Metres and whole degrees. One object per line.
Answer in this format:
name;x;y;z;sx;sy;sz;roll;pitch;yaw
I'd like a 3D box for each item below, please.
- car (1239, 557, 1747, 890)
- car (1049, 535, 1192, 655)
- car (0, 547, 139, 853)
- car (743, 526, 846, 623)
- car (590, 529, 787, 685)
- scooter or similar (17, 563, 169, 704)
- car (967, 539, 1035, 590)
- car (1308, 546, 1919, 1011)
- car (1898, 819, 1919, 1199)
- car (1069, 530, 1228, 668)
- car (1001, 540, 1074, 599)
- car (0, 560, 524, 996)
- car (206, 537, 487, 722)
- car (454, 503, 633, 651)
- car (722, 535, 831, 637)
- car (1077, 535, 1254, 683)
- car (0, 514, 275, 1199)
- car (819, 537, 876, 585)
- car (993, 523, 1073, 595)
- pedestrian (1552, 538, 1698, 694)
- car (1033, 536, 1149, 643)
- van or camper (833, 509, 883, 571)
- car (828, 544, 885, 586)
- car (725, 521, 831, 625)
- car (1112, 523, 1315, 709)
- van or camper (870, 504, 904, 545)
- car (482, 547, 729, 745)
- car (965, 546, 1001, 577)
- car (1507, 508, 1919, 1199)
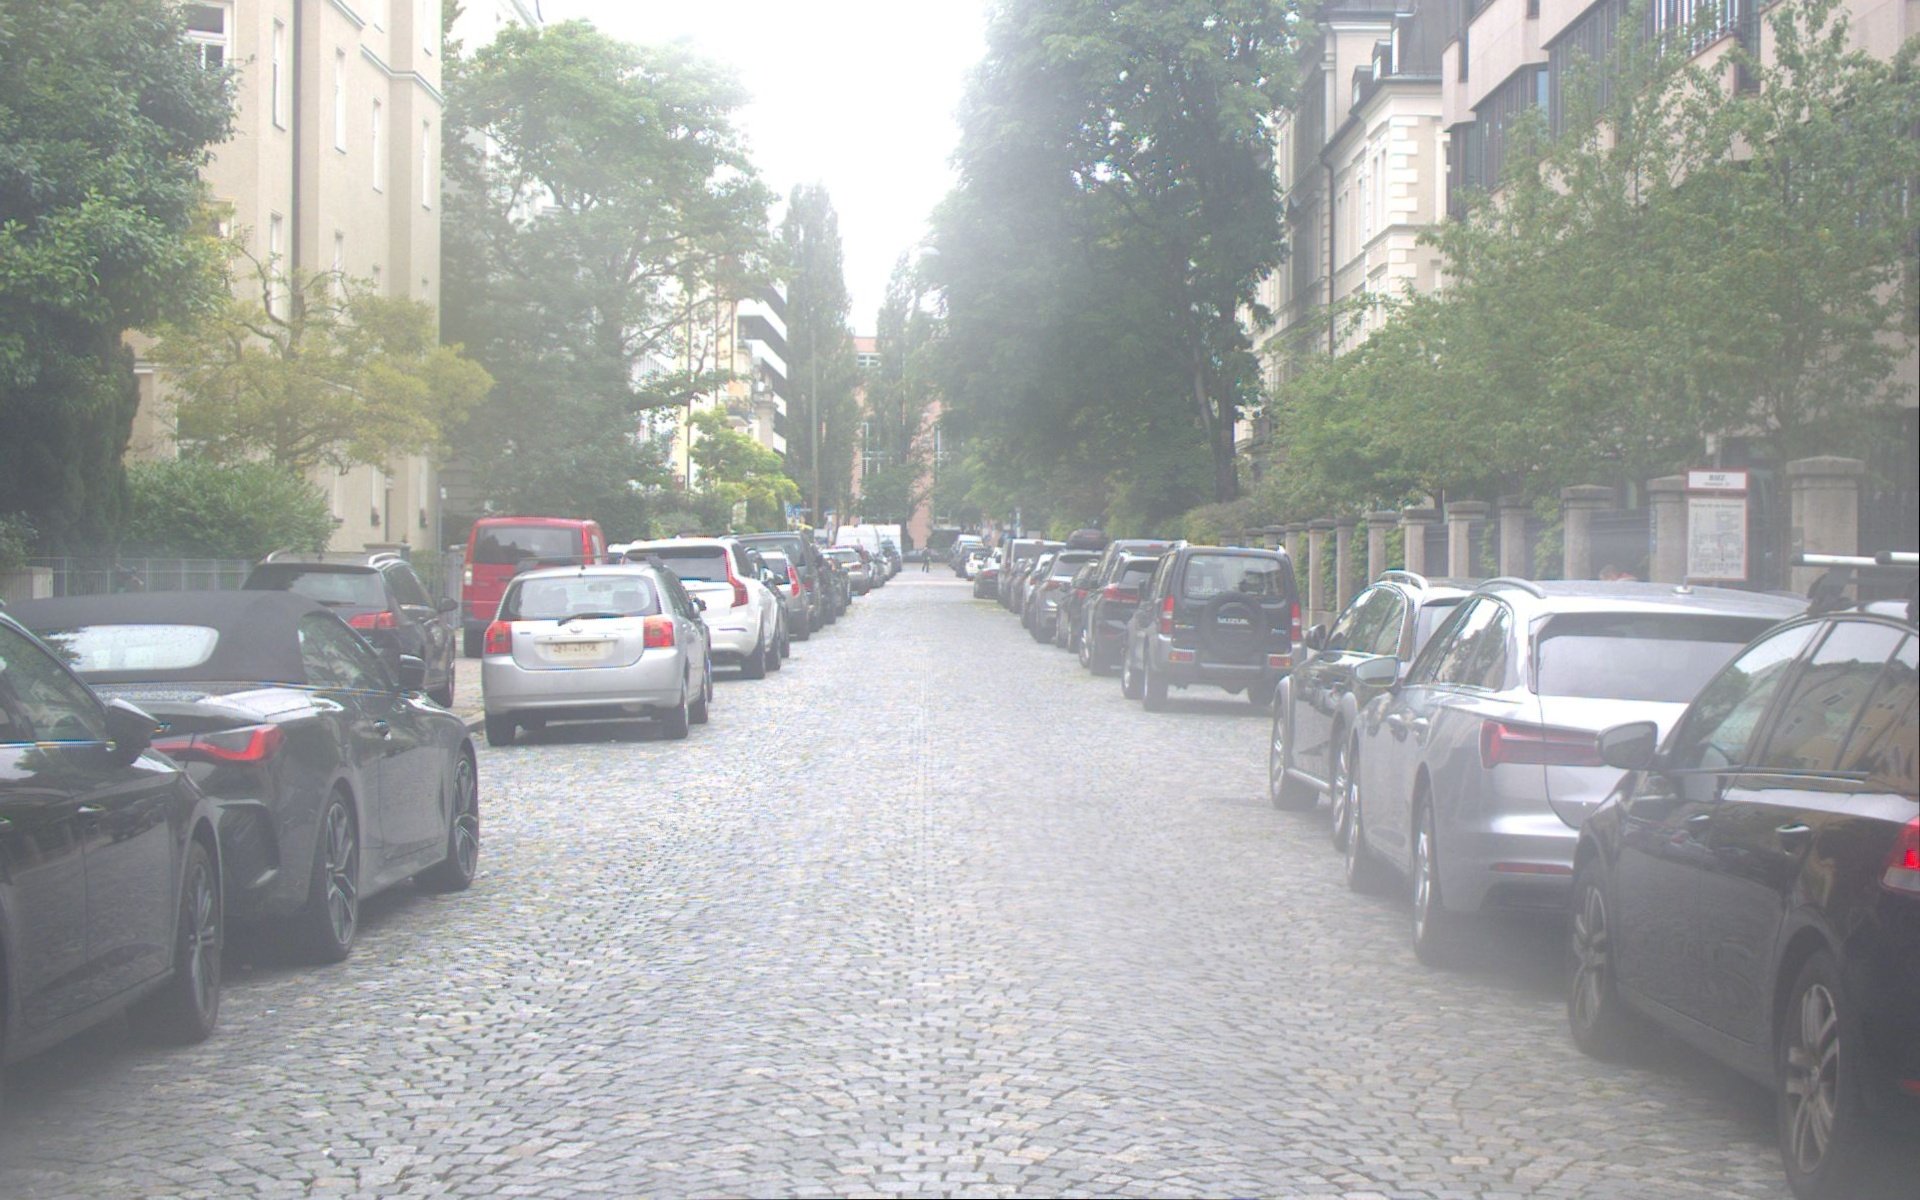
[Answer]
car;2.849;0.582;19.573;1.993;1.546;5.015;3;1;-1
car;2.550;-0.111;55.670;1.873;1.729;4.659;4;1;-1
car;-5.364;0.448;16.329;1.776;1.412;4.561;2;1;0
car;-3.541;-0.574;74.399;1.993;1.910;5.178;-3;1;-1
car;-3.350;0.045;43.381;2.006;1.803;5.174;-1;1;0
scooter or similar;-7.876;0.286;31.295;0.956;1.196;1.522;3;1;0
car;1.291;-1.160;111.209;1.873;1.498;4.512;3;1;-3
car;2.716;0.583;14.347;1.993;1.546;4.986;2;1;0
car;2.773;0.794;4.209;1.819;1.483;5.050;3;1;0
car;2.673;-0.052;49.666;1.788;1.790;4.510;4;1;-2
car;2.081;-0.844;93.507;1.837;1.485;4.421;3;1;0
car;-3.072;0.597;14.288;1.814;1.450;4.913;-2;1;0
car;-5.522;0.214;31.471;1.715;1.492;4.722;2;1;-1
car;-5.865;-0.353;48.947;1.994;1.924;5.331;2;1;-2
car;-3.352;-0.286;62.866;1.865;1.729;4.404;-2;1;-3
car;2.579;0.071;44.225;1.860;1.696;4.813;3;1;-1
car;-3.144;0.596;9.294;1.739;1.598;4.537;-1;1;-1
car;-3.924;-1.369;119.354;1.873;1.574;4.256;-2;1;-2
car;2.074;-1.205;99.218;1.873;1.922;5.165;3;1;-3
pedestrian;6.617;0.152;34.289;1.217;1.488;1.129;-2;1;2
car;2.280;-0.208;60.760;1.873;1.729;4.892;2;1;1
van or camper;-4.498;-2.642;151.979;1.993;2.643;4.000;-2;1;0
car;-4.125;-1.412;137.029;1.873;1.574;4.208;3;1;3
car;-3.562;-0.557;67.998;1.873;1.910;4.828;-2;1;-1
car;2.580;0.120;35.745;1.618;1.745;3.887;3;1;-2
van or camper;-5.008;-5.159;236.562;2.256;2.733;5.098;1;1;0
car;-3.016;0.335;30.014;1.713;1.557;4.391;-1;1;-1
car;1.148;-1.944;172.904;1.790;1.515;4.000;0;1;0
car;2.842;0.628;9.412;1.893;1.648;4.294;2;1;-1
